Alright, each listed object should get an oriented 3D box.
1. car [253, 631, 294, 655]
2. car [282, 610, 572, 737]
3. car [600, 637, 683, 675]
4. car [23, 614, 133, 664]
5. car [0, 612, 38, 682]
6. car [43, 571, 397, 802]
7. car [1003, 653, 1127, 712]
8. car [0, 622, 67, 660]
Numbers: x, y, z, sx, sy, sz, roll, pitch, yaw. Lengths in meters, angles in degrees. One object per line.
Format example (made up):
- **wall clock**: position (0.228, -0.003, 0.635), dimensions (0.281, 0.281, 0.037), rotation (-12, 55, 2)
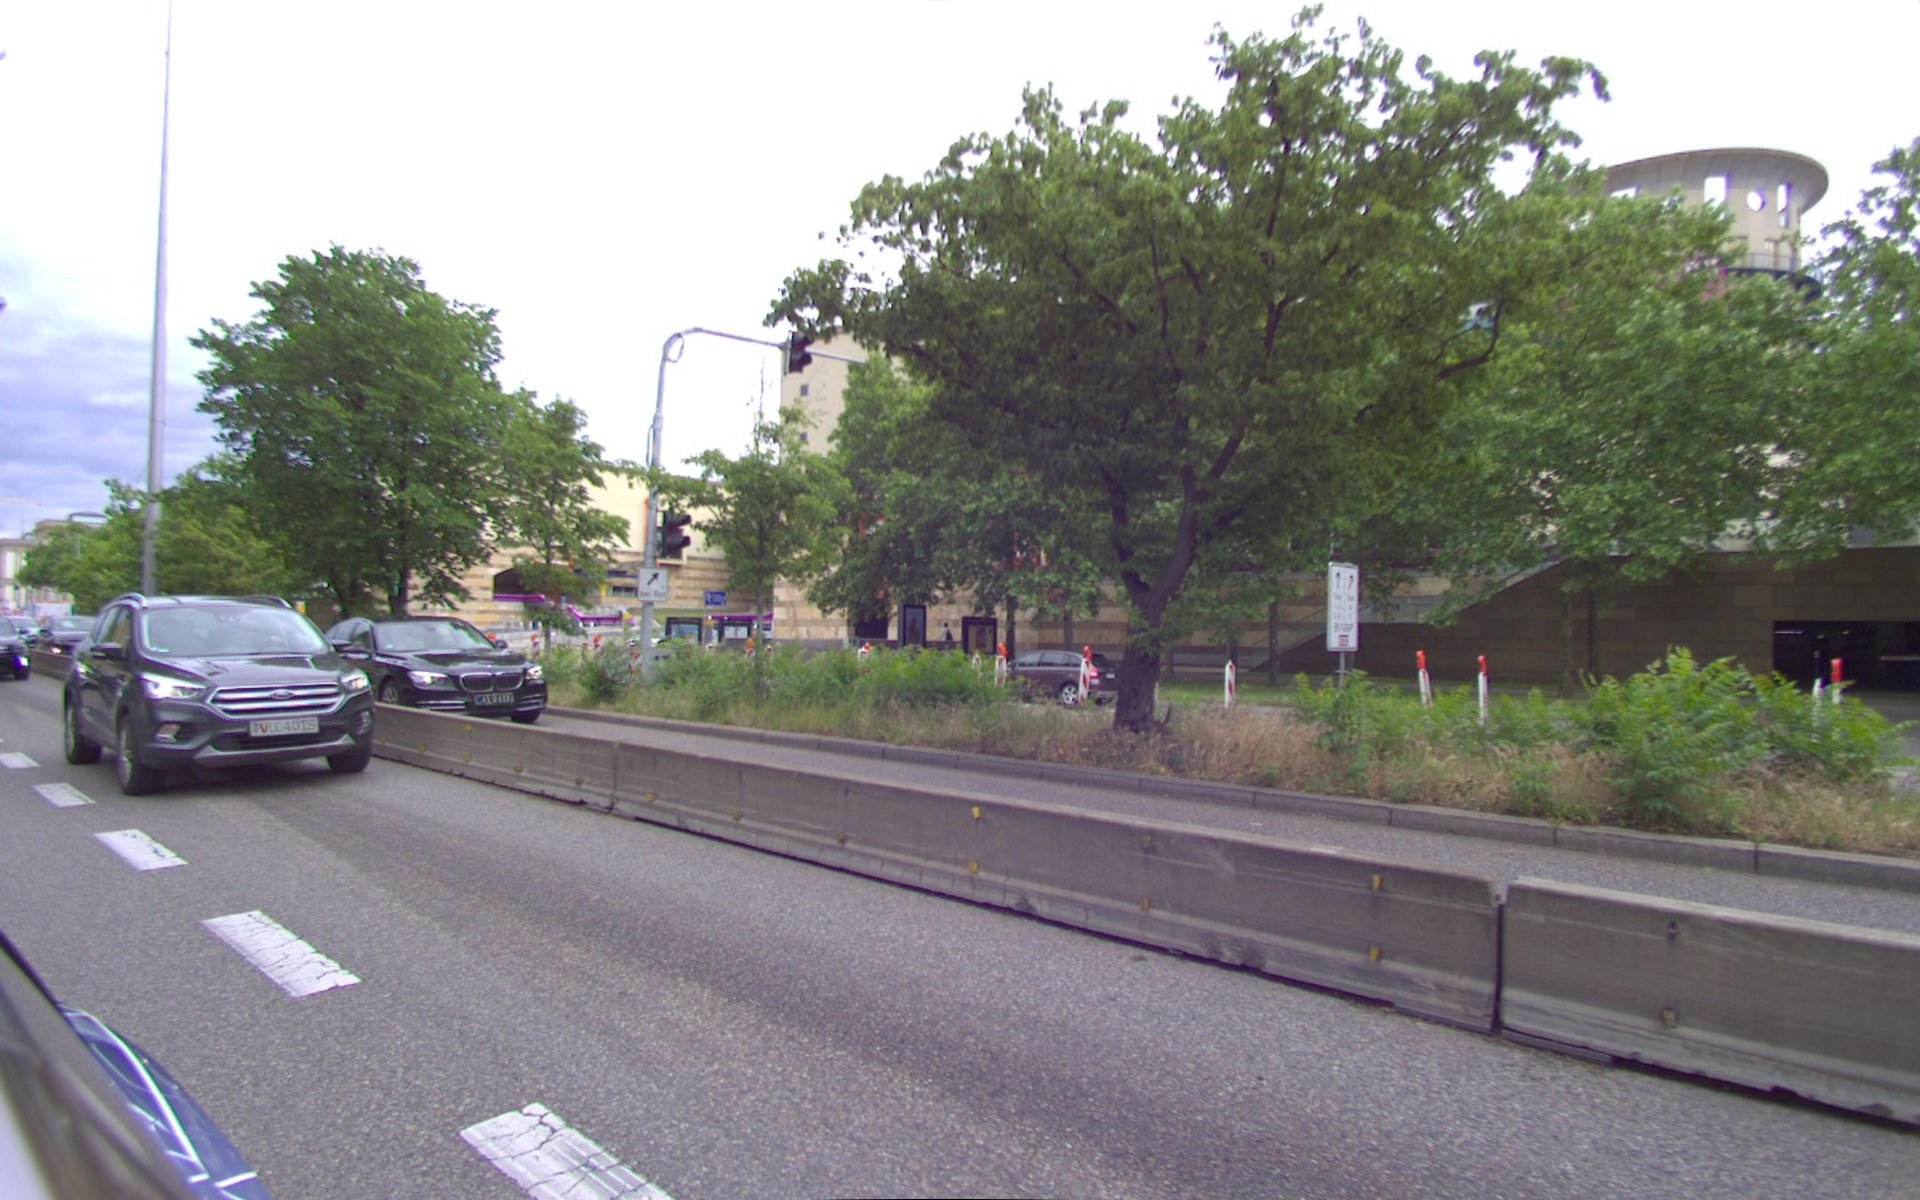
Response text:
- **car**: position (-49.670, 3.094, 73.232), dimensions (3.577, 1.621, 1.562), rotation (-1, -3, 42)
- **car**: position (-7.596, 0.930, 14.209), dimensions (4.806, 1.494, 1.973), rotation (-1, -3, 41)
- **car**: position (-12.566, 2.189, 39.840), dimensions (3.735, 1.298, 1.338), rotation (0, 0, 41)
- **car**: position (-28.353, 1.234, 32.487), dimensions (4.806, 1.494, 1.973), rotation (-1, -3, 41)
- **car**: position (-22.929, 1.057, 23.531), dimensions (4.150, 1.527, 1.744), rotation (0, -1, 41)
- **car**: position (-7.363, 0.706, 9.870), dimensions (4.657, 1.728, 1.873), rotation (-2, -2, 42)
- **car**: position (2.726, 2.111, 26.568), dimensions (3.054, 1.298, 1.338), rotation (0, 0, 41)
- **car**: position (-38.704, 1.662, 41.871), dimensions (4.806, 1.494, 1.973), rotation (-1, -3, 41)
